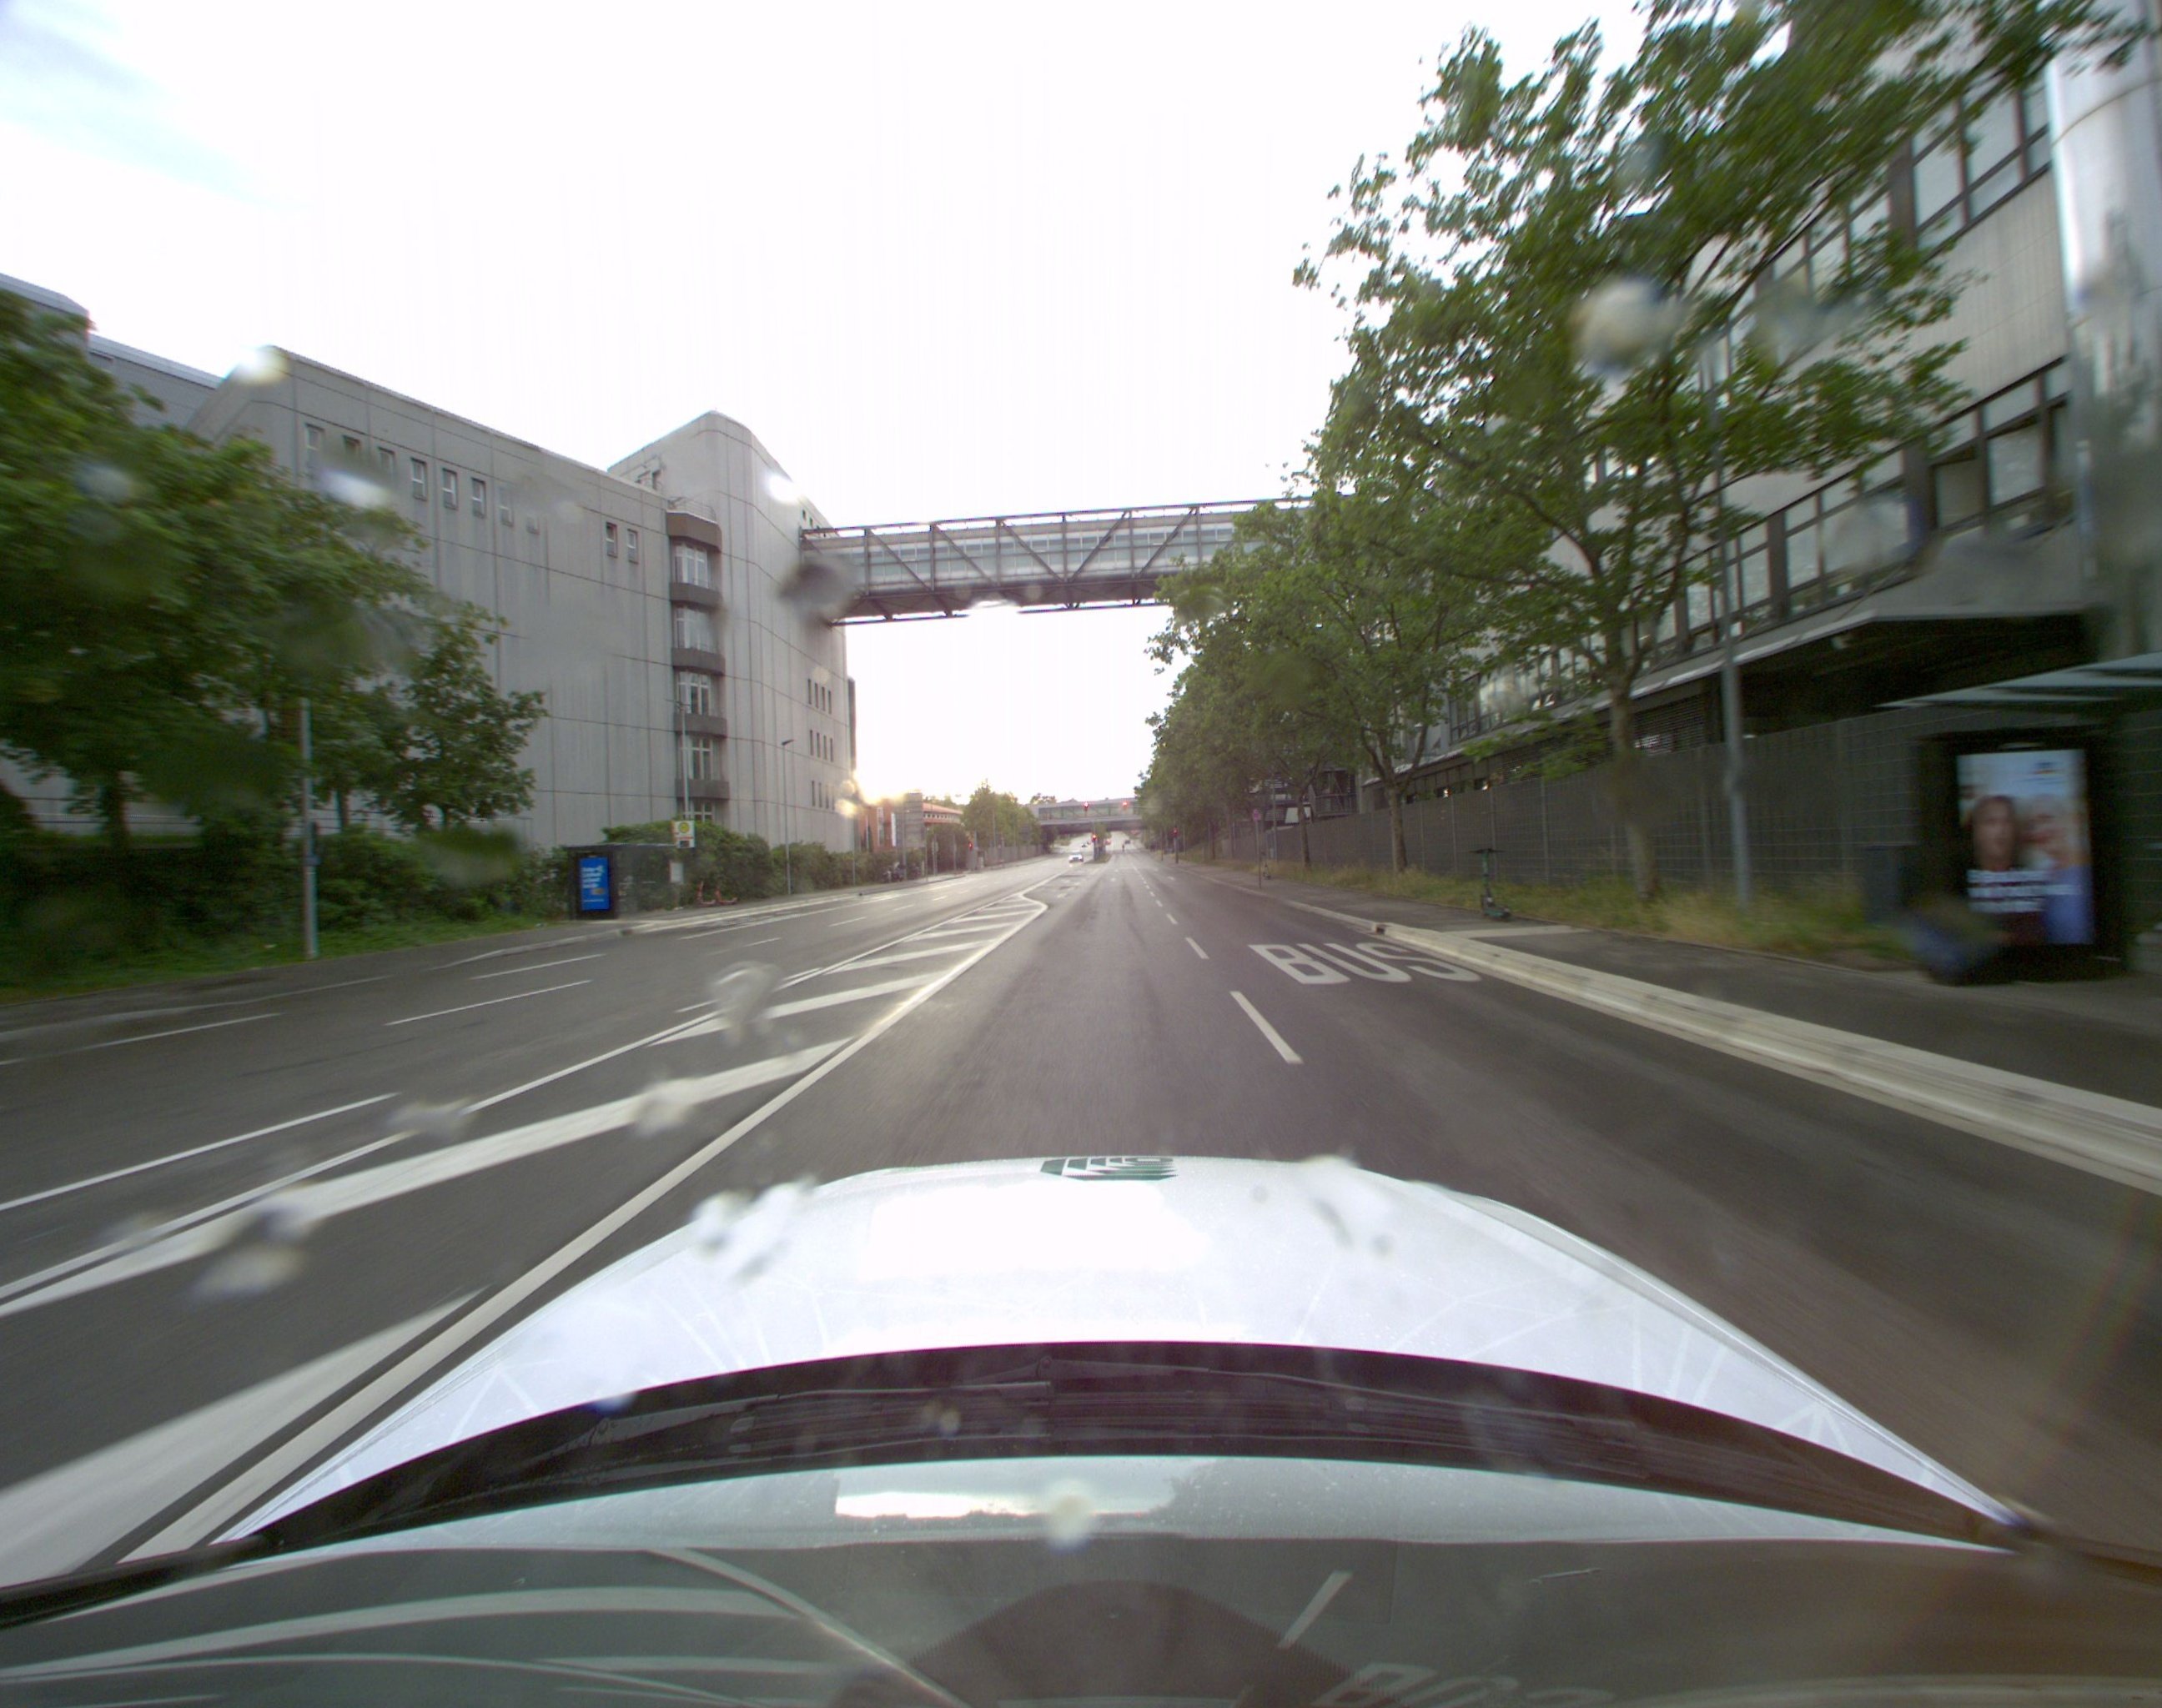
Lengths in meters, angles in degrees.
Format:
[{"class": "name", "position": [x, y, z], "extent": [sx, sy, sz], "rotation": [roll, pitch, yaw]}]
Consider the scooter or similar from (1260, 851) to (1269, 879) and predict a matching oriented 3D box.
[{"class": "scooter or similar", "position": [8.360, 0.487, 37.122], "extent": [0.326, 1.269, 1.112], "rotation": [-3, 0, 11]}]

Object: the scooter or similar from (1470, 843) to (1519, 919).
[{"class": "scooter or similar", "position": [7.412, 0.462, 14.624], "extent": [0.327, 1.308, 1.248], "rotation": [-3, 0, 7]}]

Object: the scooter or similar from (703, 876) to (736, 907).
[{"class": "scooter or similar", "position": [-14.852, 1.542, 33.495], "extent": [0.375, 1.181, 1.383], "rotation": [-3, 0, 16]}]

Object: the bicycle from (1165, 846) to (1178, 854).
[{"class": "bicycle", "position": [14.202, -0.604, 127.574], "extent": [1.981, 1.216, 0.542], "rotation": [0, -1, 3]}]

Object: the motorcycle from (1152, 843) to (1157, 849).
[{"class": "motorcycle", "position": [17.294, -1.913, 192.109], "extent": [0.789, 1.311, 2.372], "rotation": [-4, 0, -5]}]

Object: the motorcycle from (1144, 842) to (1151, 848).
[{"class": "motorcycle", "position": [16.099, -2.112, 197.145], "extent": [0.791, 1.311, 2.364], "rotation": [-4, 0, -15]}]

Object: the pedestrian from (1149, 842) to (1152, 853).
[{"class": "pedestrian", "position": [13.867, -1.324, 162.465], "extent": [0.619, 2.013, 0.606], "rotation": [-4, 0, 3]}]

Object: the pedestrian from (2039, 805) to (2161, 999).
[{"class": "pedestrian", "position": [8.332, 0.334, 6.308], "extent": [0.927, 1.416, 0.698], "rotation": [-3, 0, 1]}]

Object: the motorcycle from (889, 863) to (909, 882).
[{"class": "motorcycle", "position": [-13.786, 1.380, 61.716], "extent": [0.781, 1.347, 2.371], "rotation": [-3, 0, 2]}]

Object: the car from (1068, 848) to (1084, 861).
[{"class": "car", "position": [-0.626, 0.024, 112.382], "extent": [1.869, 1.624, 3.782], "rotation": [-3, 0, 3]}]

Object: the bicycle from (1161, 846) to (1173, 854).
[{"class": "bicycle", "position": [14.677, -0.698, 139.251], "extent": [1.981, 1.430, 0.723], "rotation": [0, -1, 3]}]

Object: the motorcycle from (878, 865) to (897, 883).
[{"class": "motorcycle", "position": [-14.062, 1.456, 59.240], "extent": [0.781, 1.250, 2.159], "rotation": [-3, 0, 2]}]

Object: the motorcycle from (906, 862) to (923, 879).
[{"class": "motorcycle", "position": [-13.763, 1.348, 67.336], "extent": [0.781, 1.247, 2.159], "rotation": [-3, 0, 2]}]

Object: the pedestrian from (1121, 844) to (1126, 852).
[{"class": "pedestrian", "position": [9.838, -1.395, 189.798], "extent": [0.864, 2.004, 0.859], "rotation": [-4, 0, 20]}]

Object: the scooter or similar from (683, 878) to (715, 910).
[{"class": "scooter or similar", "position": [-15.072, 1.551, 32.155], "extent": [0.385, 1.180, 1.256], "rotation": [-3, 0, 16]}]

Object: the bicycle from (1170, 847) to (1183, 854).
[{"class": "bicycle", "position": [14.794, -0.560, 126.080], "extent": [1.981, 1.094, 0.542], "rotation": [0, -1, 3]}]
